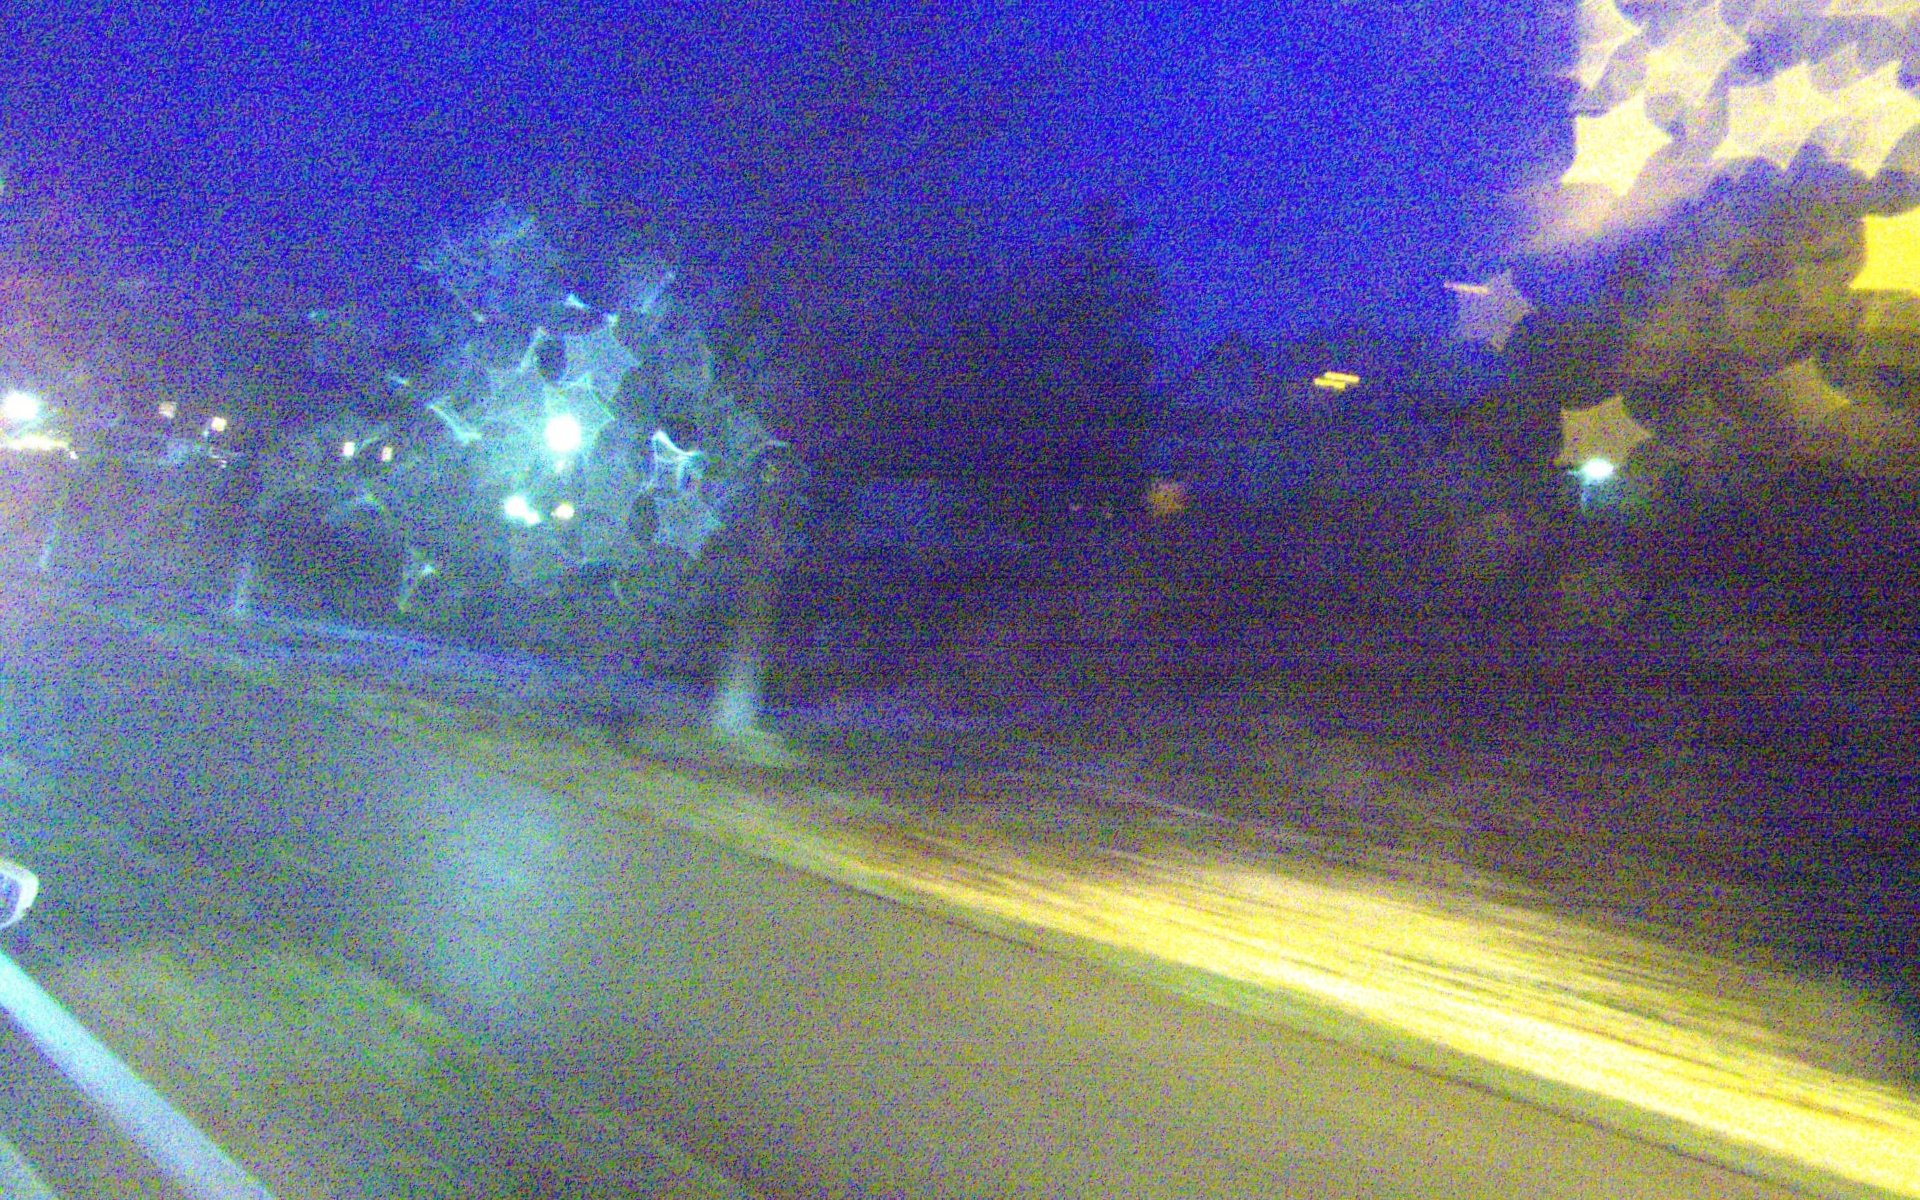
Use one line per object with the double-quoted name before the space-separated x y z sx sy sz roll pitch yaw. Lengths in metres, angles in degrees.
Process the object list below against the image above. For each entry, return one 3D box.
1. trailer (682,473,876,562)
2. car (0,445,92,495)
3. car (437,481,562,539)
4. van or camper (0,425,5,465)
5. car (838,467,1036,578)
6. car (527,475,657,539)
"trailer" -5.849 -2.658 32.530 5.615 2.096 2.234 7 -1 21
"car" -40.692 -5.759 44.353 4.056 1.636 1.643 7 -1 18
"car" -16.588 -3.236 36.267 3.925 1.489 1.619 7 -2 18
"van or camper" -47.353 -6.968 45.796 6.238 2.943 2.591 7 -1 16
"car" -0.693 -2.352 30.645 5.350 2.666 2.122 7 -1 21
"car" -12.733 -3.213 34.832 3.925 1.659 1.619 7 -2 18
